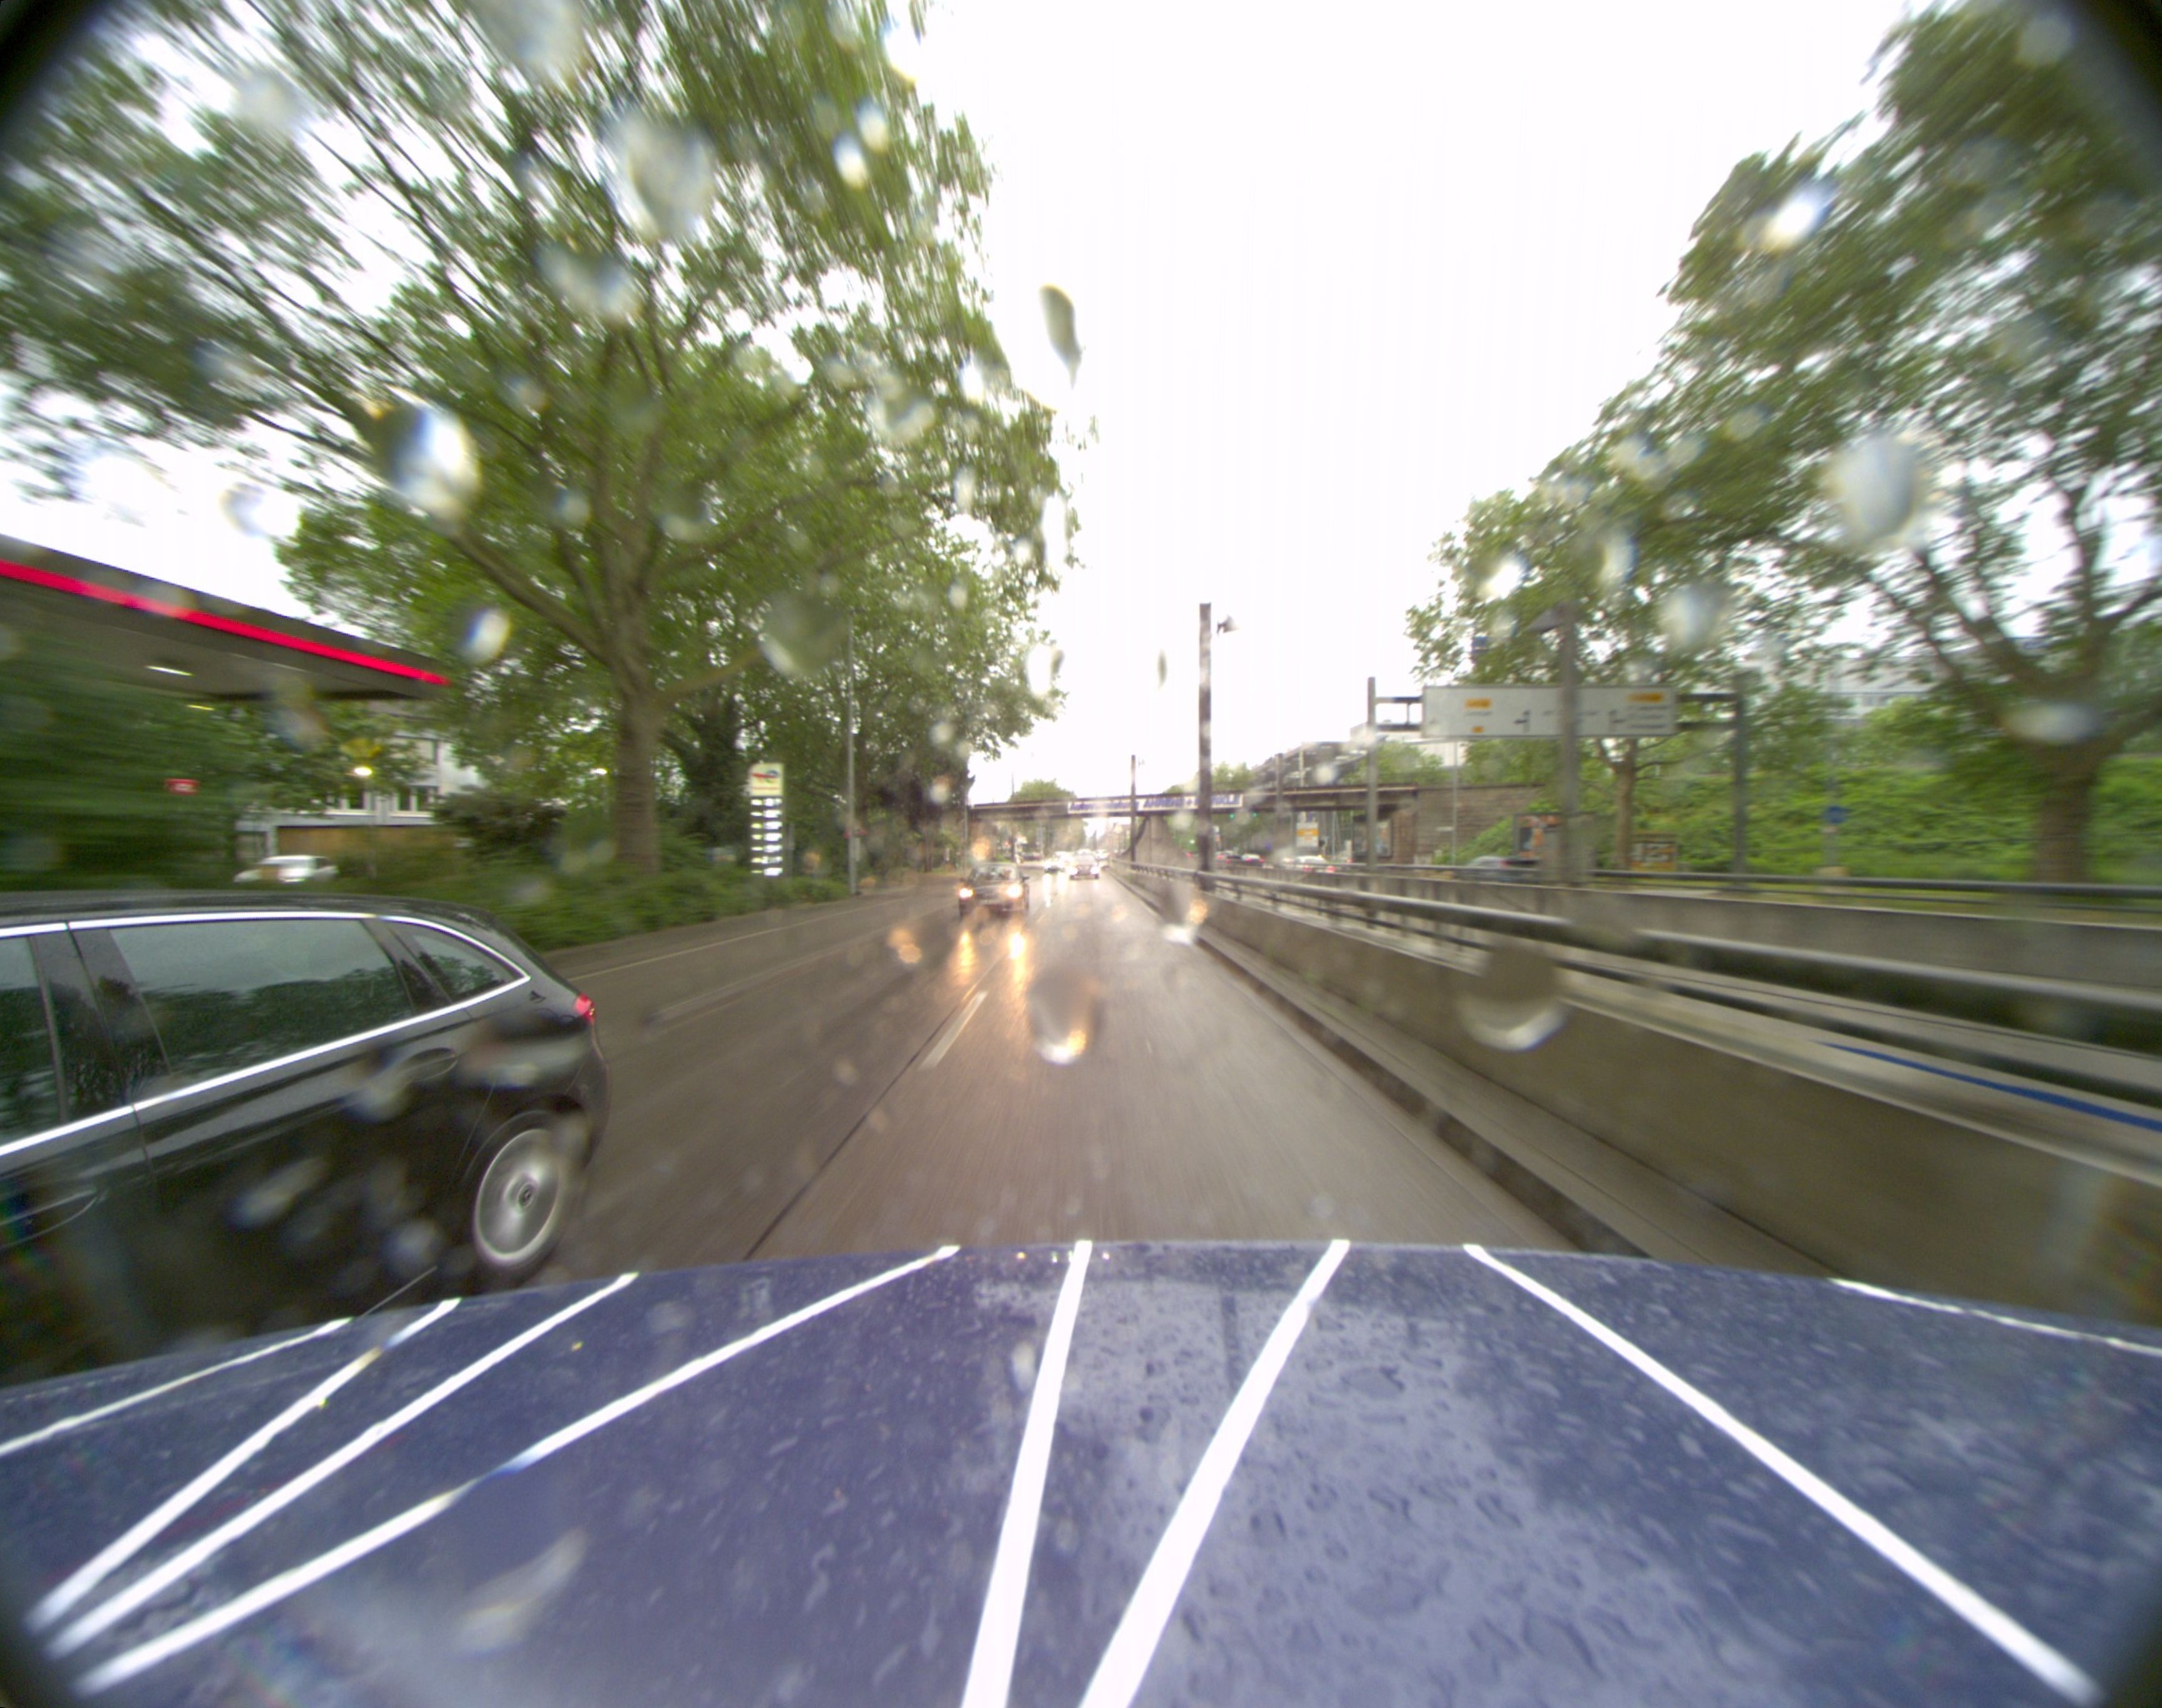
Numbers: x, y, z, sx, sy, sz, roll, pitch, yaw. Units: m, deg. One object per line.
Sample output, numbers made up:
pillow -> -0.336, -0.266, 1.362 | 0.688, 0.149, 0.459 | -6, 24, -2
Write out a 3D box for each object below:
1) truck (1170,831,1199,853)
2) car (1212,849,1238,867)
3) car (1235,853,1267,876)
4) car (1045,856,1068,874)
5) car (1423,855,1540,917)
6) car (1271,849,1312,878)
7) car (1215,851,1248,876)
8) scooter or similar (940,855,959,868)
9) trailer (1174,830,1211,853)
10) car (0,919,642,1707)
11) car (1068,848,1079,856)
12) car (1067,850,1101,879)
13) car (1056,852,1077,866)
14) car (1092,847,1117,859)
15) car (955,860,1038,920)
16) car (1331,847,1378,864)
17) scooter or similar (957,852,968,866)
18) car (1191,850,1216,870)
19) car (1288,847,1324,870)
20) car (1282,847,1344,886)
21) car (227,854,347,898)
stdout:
truck -> 16.784, -1.888, 123.647 | 3.384, 3.290, 6.521 | -2, 1, -4
car -> 16.247, 0.383, 85.916 | 1.998, 1.918, 4.366 | -2, 1, 0
car -> 16.412, 0.994, 73.589 | 1.998, 2.002, 4.510 | -2, 1, 0
car -> -2.139, 0.999, 67.705 | 1.821, 1.520, 4.158 | -1, 0, 1
car -> 14.889, 1.115, 28.579 | 1.998, 2.002, 4.510 | -2, 1, 0
car -> 15.819, 0.682, 57.303 | 1.998, 2.002, 3.999 | -2, 1, 0
car -> 12.852, 0.804, 65.267 | 1.998, 2.002, 3.999 | -2, 1, 0
scooter or similar -> -11.283, 0.646, 65.412 | 0.452, 1.004, 1.742 | -1, 1, 38
trailer -> 17.147, -1.859, 117.898 | 3.331, 3.241, 11.117 | -2, 1, -4
car -> -2.985, 0.969, 1.339 | 1.821, 1.520, 4.424 | -1, -3, 0
car -> -1.475, -0.334, 143.829 | 1.821, 1.520, 4.157 | -1, 0, -3
car -> 0.250, 0.662, 50.016 | 1.974, 1.794, 4.159 | -1, 0, 3
car -> -1.884, 0.602, 96.759 | 1.871, 1.689, 4.421 | -1, 0, -11
car -> 3.340, -0.123, 110.677 | 2.126, 1.689, 4.150 | -1, 0, -23
car -> -2.241, 0.921, 21.063 | 1.641, 1.377, 3.782 | -2, 1, 3
car -> 28.224, 0.125, 78.517 | 4.200, 1.540, 1.997 | -2, 1, -20
scooter or similar -> -10.501, 0.449, 67.383 | 0.453, 1.152, 1.828 | -2, 1, 8
car -> 13.067, 0.627, 81.133 | 1.998, 2.002, 3.999 | -2, 1, 0
car -> 20.188, 0.369, 68.284 | 1.998, 2.002, 4.196 | -2, 1, 0
car -> 12.925, 0.643, 42.630 | 1.998, 2.002, 4.615 | -2, 1, 0
car -> -30.916, 0.794, 29.774 | 2.003, 1.479, 4.620 | -3, 2, -30
